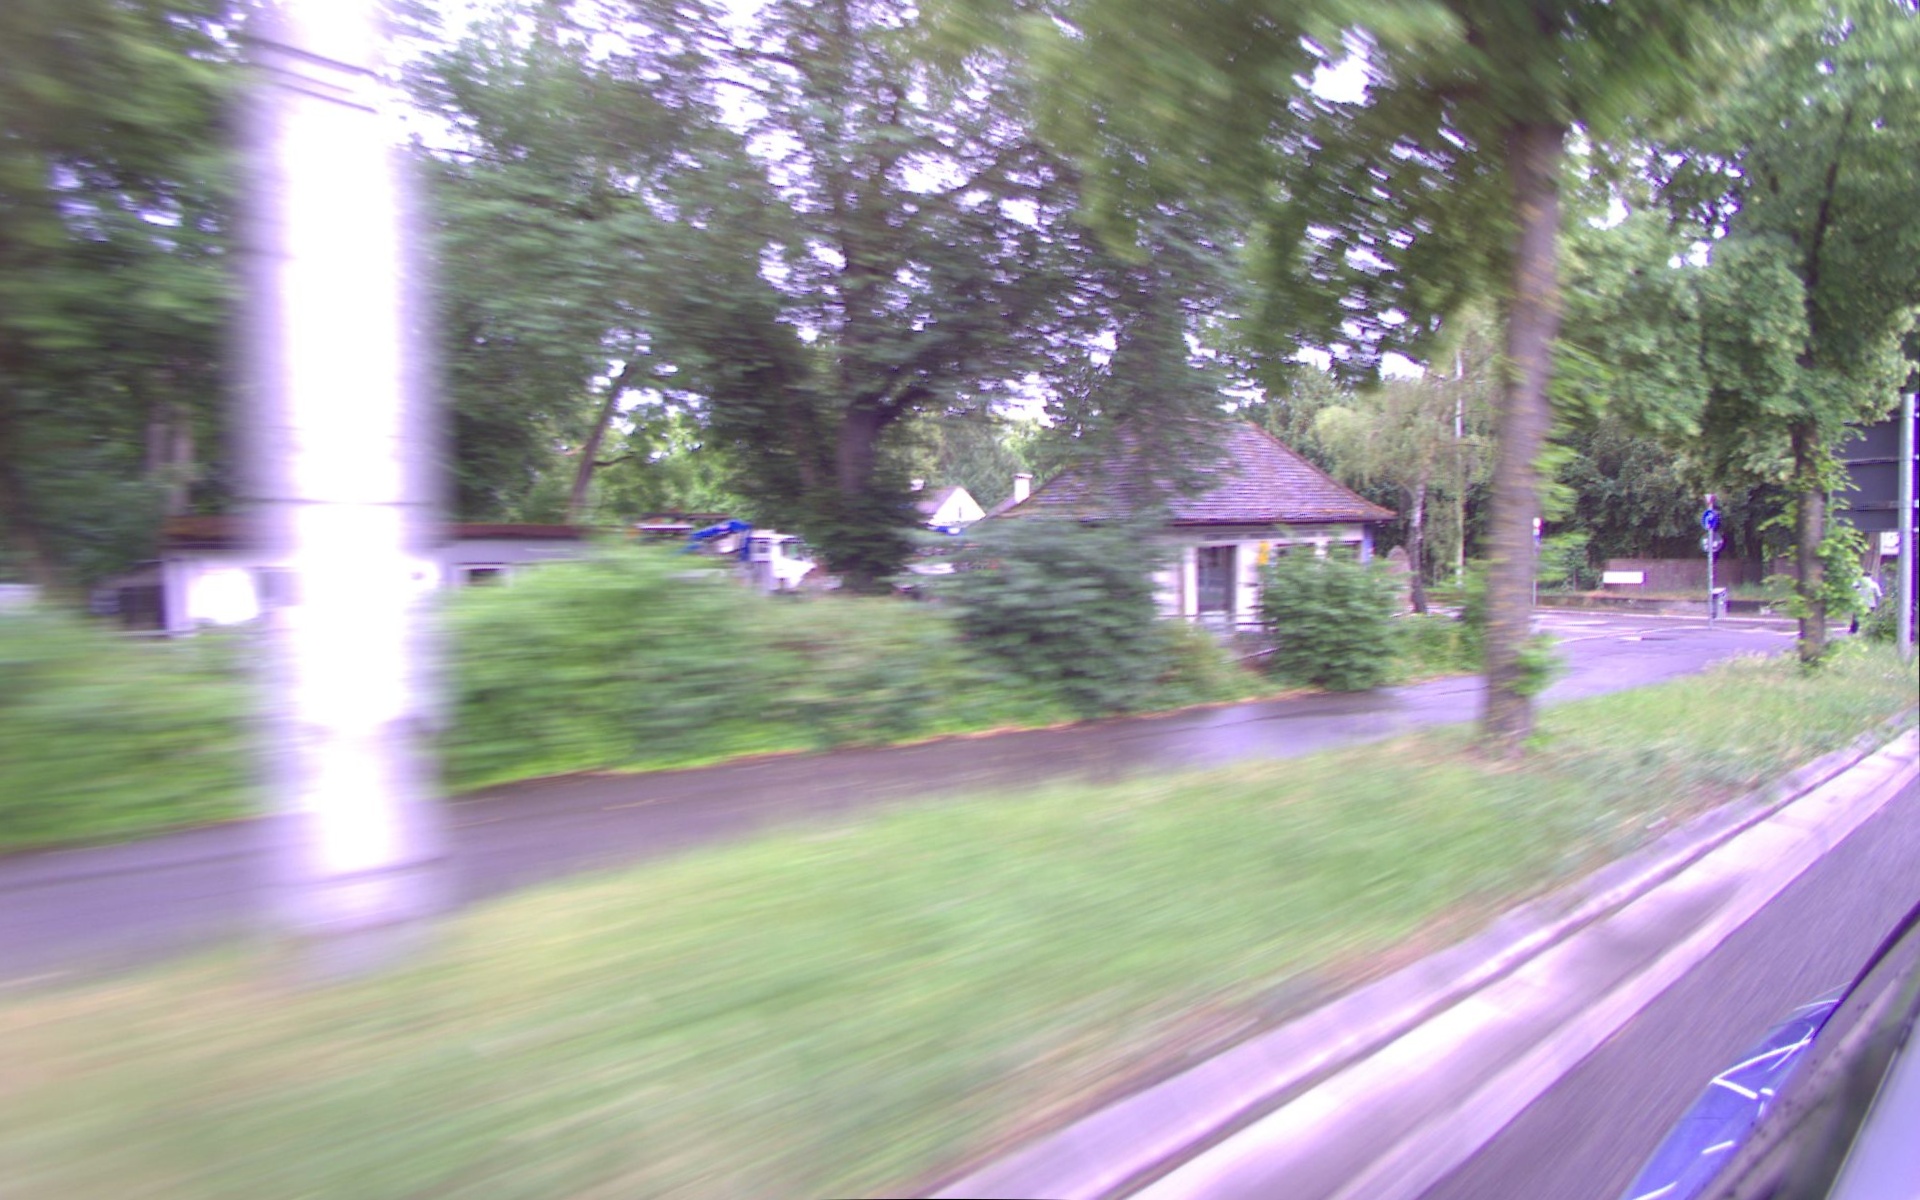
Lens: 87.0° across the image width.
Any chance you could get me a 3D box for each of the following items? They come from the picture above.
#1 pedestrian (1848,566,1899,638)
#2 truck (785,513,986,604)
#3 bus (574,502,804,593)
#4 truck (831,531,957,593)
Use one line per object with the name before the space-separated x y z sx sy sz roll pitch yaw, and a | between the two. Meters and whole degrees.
pedestrian | 24.441 0.046 27.089 0.723 1.877 0.857 0 1 -36
truck | -2.496 -1.359 34.228 6.467 2.903 2.064 0 1 -20
bus | -8.860 -1.660 33.566 7.033 2.734 2.259 -1 1 -36
truck | -2.765 -1.453 41.201 2.185 2.208 5.398 0 -1 -43
